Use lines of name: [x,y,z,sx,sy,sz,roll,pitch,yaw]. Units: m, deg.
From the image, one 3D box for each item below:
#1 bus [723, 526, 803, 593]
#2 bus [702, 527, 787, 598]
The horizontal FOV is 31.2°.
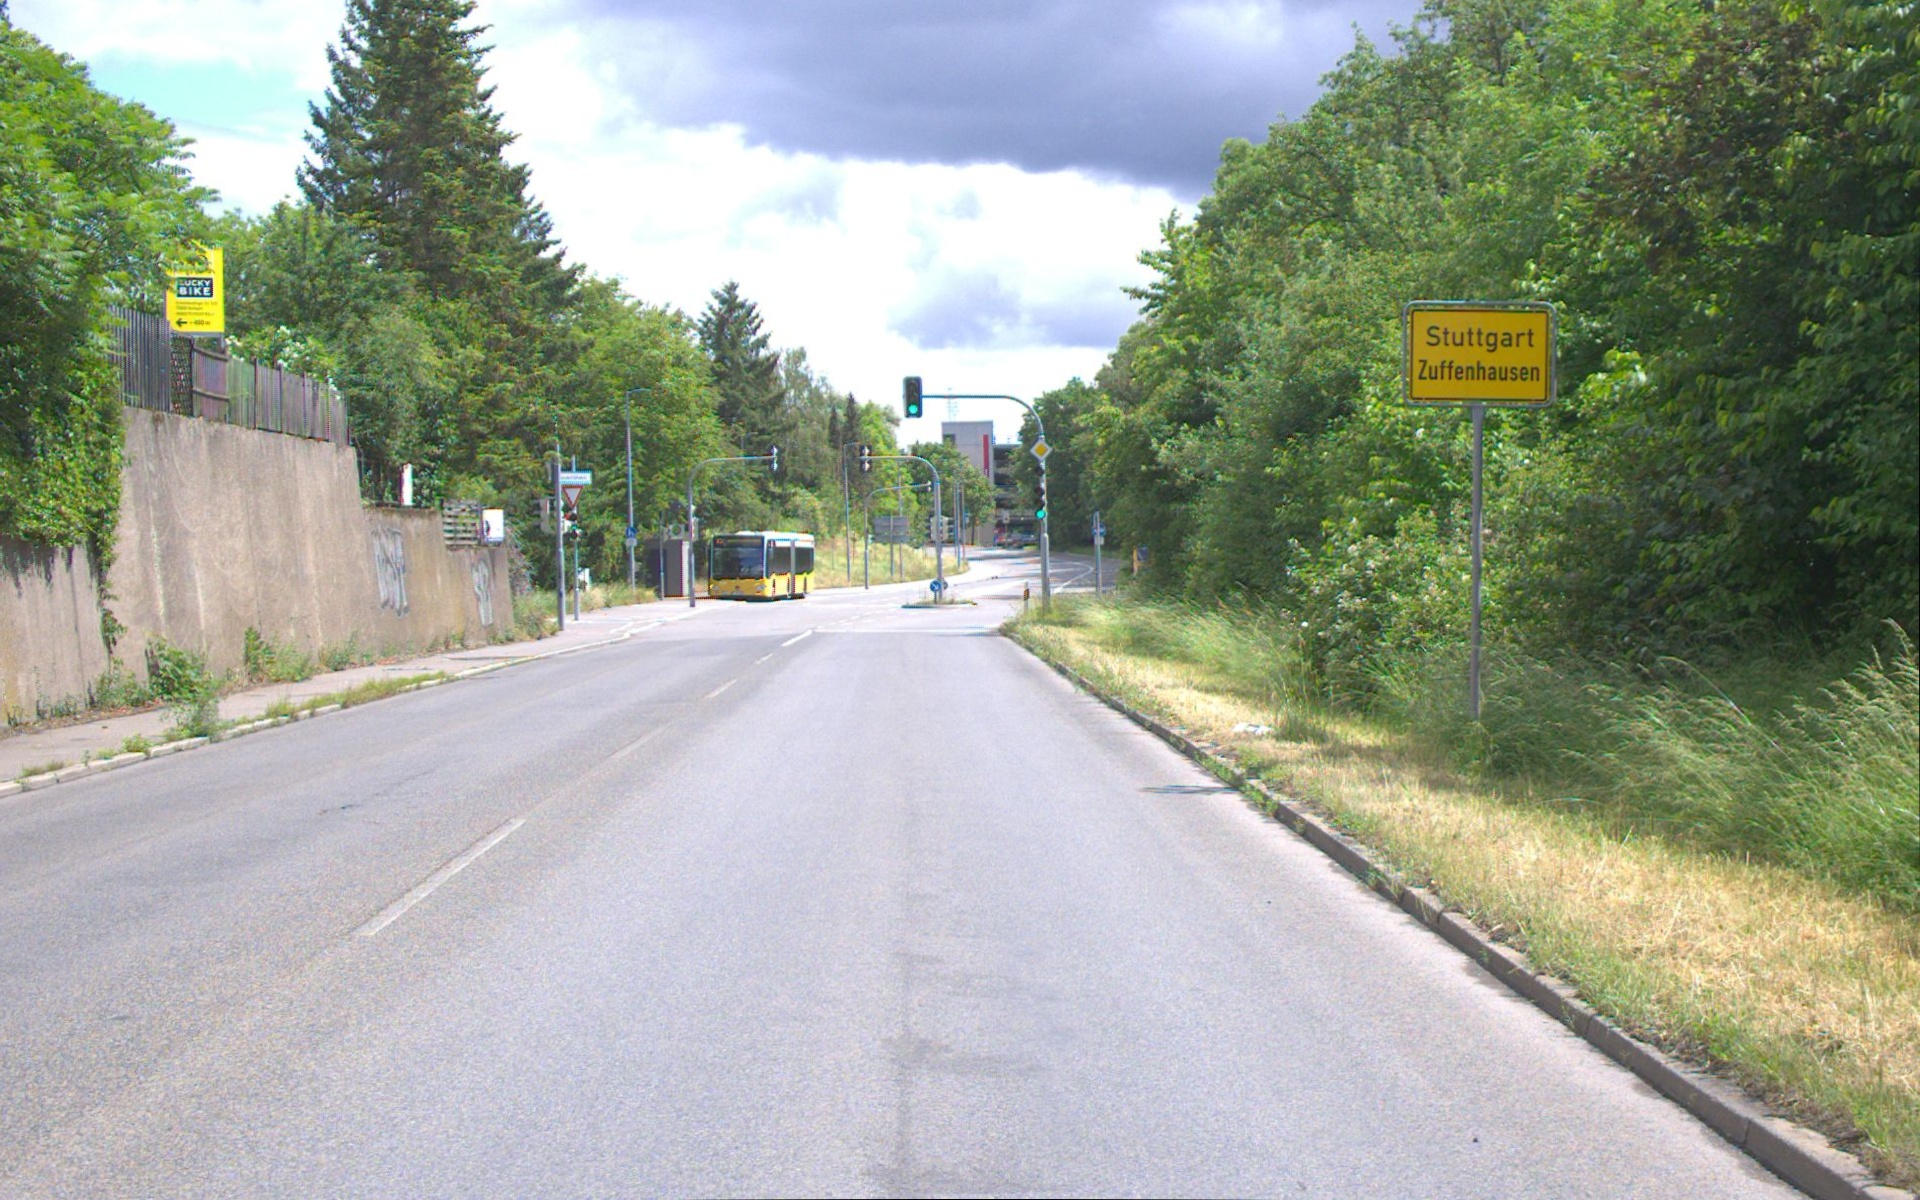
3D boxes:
bus: [-9.018,-1.919,158.470,2.895,2.889,7.667,1,2,2]
bus: [-9.392,-1.683,150.856,2.895,2.889,7.667,1,2,2]
